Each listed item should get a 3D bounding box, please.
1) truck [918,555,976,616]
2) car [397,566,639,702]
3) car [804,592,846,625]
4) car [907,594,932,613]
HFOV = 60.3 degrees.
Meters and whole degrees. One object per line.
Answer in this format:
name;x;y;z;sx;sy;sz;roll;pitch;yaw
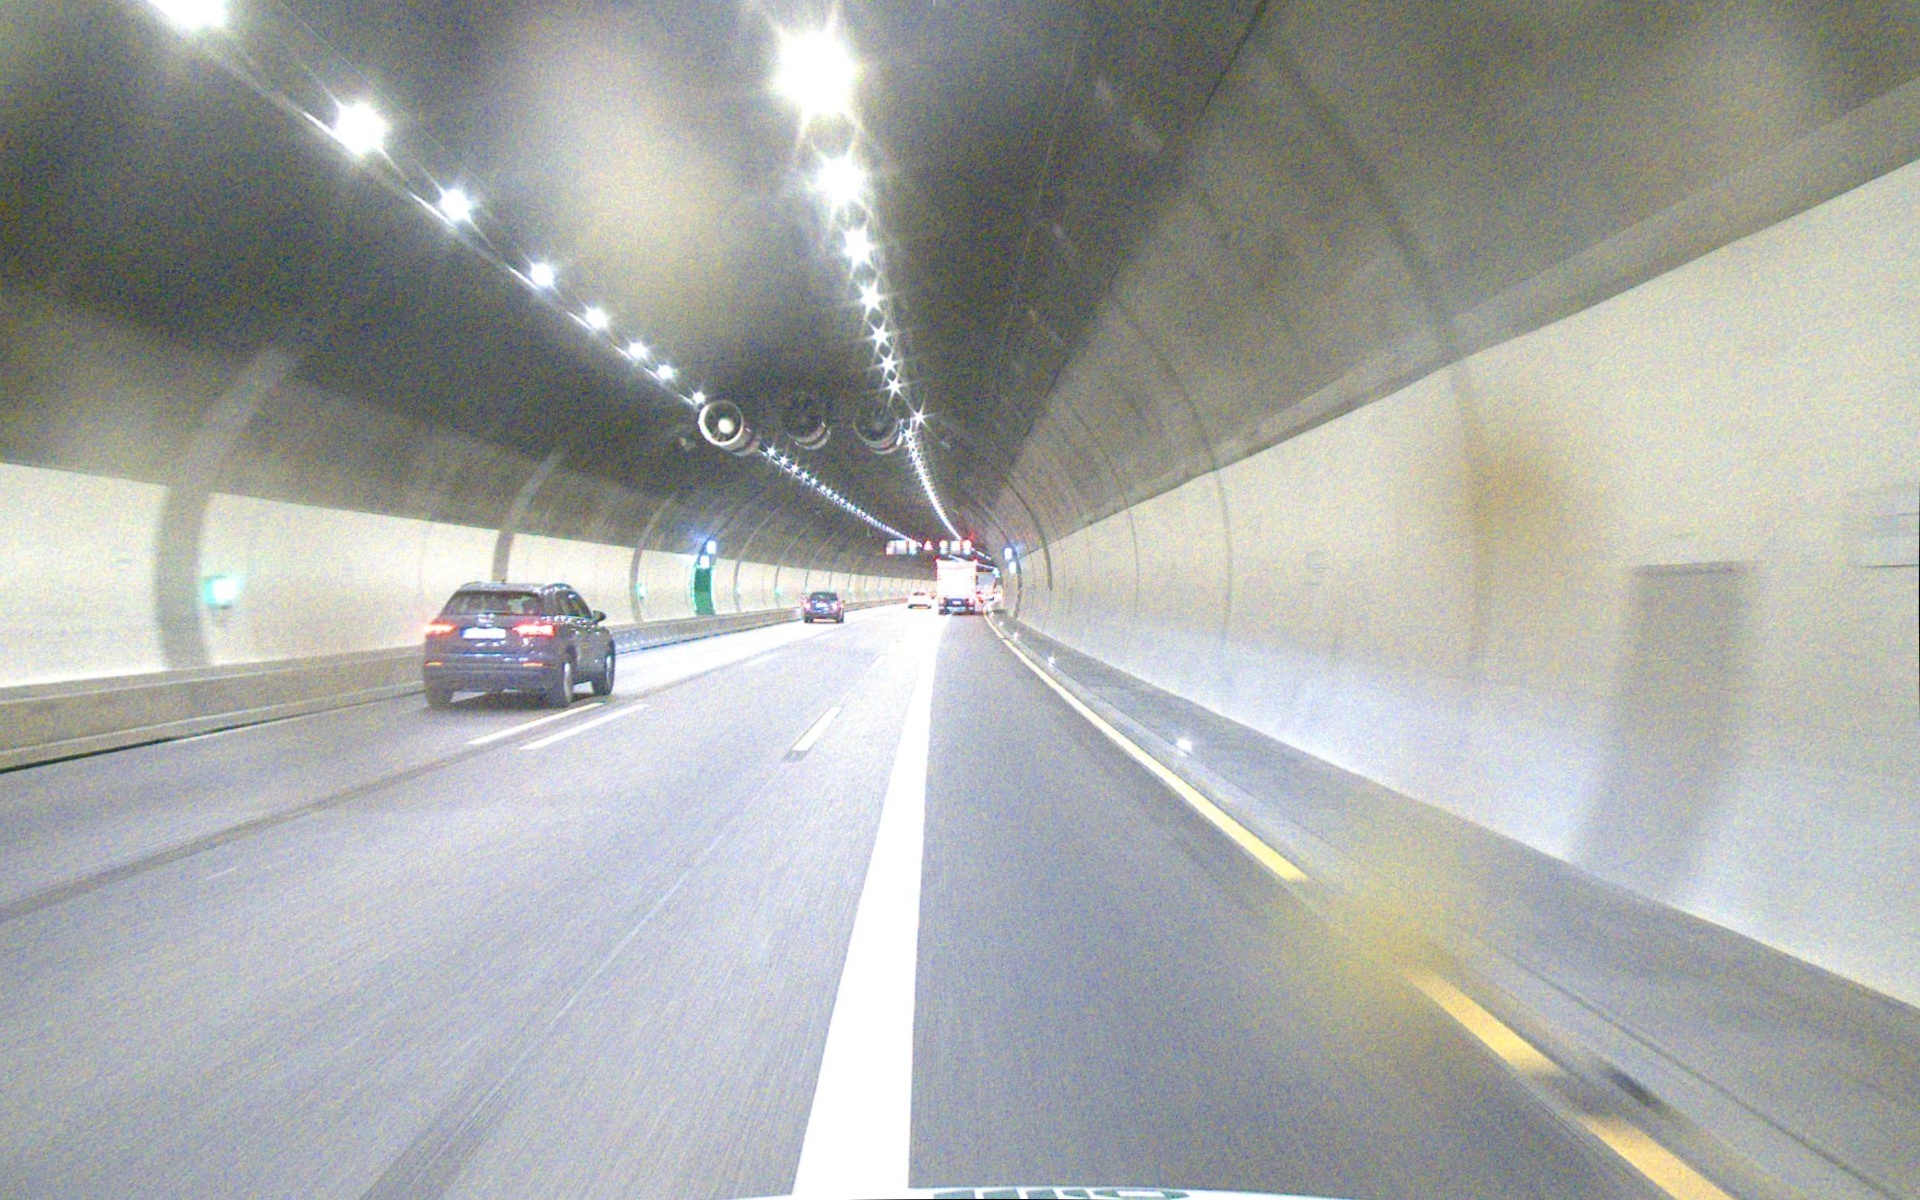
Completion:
truck;-0.897;-0.920;110.294;3.520;3.714;10.720;2;0;-1
car;-5.803;0.435;22.381;1.953;1.567;4.742;2;-1;0
car;-6.245;0.391;76.741;1.655;1.442;3.921;2;0;-2
car;-3.301;0.281;135.377;1.953;1.437;4.741;2;0;-1
